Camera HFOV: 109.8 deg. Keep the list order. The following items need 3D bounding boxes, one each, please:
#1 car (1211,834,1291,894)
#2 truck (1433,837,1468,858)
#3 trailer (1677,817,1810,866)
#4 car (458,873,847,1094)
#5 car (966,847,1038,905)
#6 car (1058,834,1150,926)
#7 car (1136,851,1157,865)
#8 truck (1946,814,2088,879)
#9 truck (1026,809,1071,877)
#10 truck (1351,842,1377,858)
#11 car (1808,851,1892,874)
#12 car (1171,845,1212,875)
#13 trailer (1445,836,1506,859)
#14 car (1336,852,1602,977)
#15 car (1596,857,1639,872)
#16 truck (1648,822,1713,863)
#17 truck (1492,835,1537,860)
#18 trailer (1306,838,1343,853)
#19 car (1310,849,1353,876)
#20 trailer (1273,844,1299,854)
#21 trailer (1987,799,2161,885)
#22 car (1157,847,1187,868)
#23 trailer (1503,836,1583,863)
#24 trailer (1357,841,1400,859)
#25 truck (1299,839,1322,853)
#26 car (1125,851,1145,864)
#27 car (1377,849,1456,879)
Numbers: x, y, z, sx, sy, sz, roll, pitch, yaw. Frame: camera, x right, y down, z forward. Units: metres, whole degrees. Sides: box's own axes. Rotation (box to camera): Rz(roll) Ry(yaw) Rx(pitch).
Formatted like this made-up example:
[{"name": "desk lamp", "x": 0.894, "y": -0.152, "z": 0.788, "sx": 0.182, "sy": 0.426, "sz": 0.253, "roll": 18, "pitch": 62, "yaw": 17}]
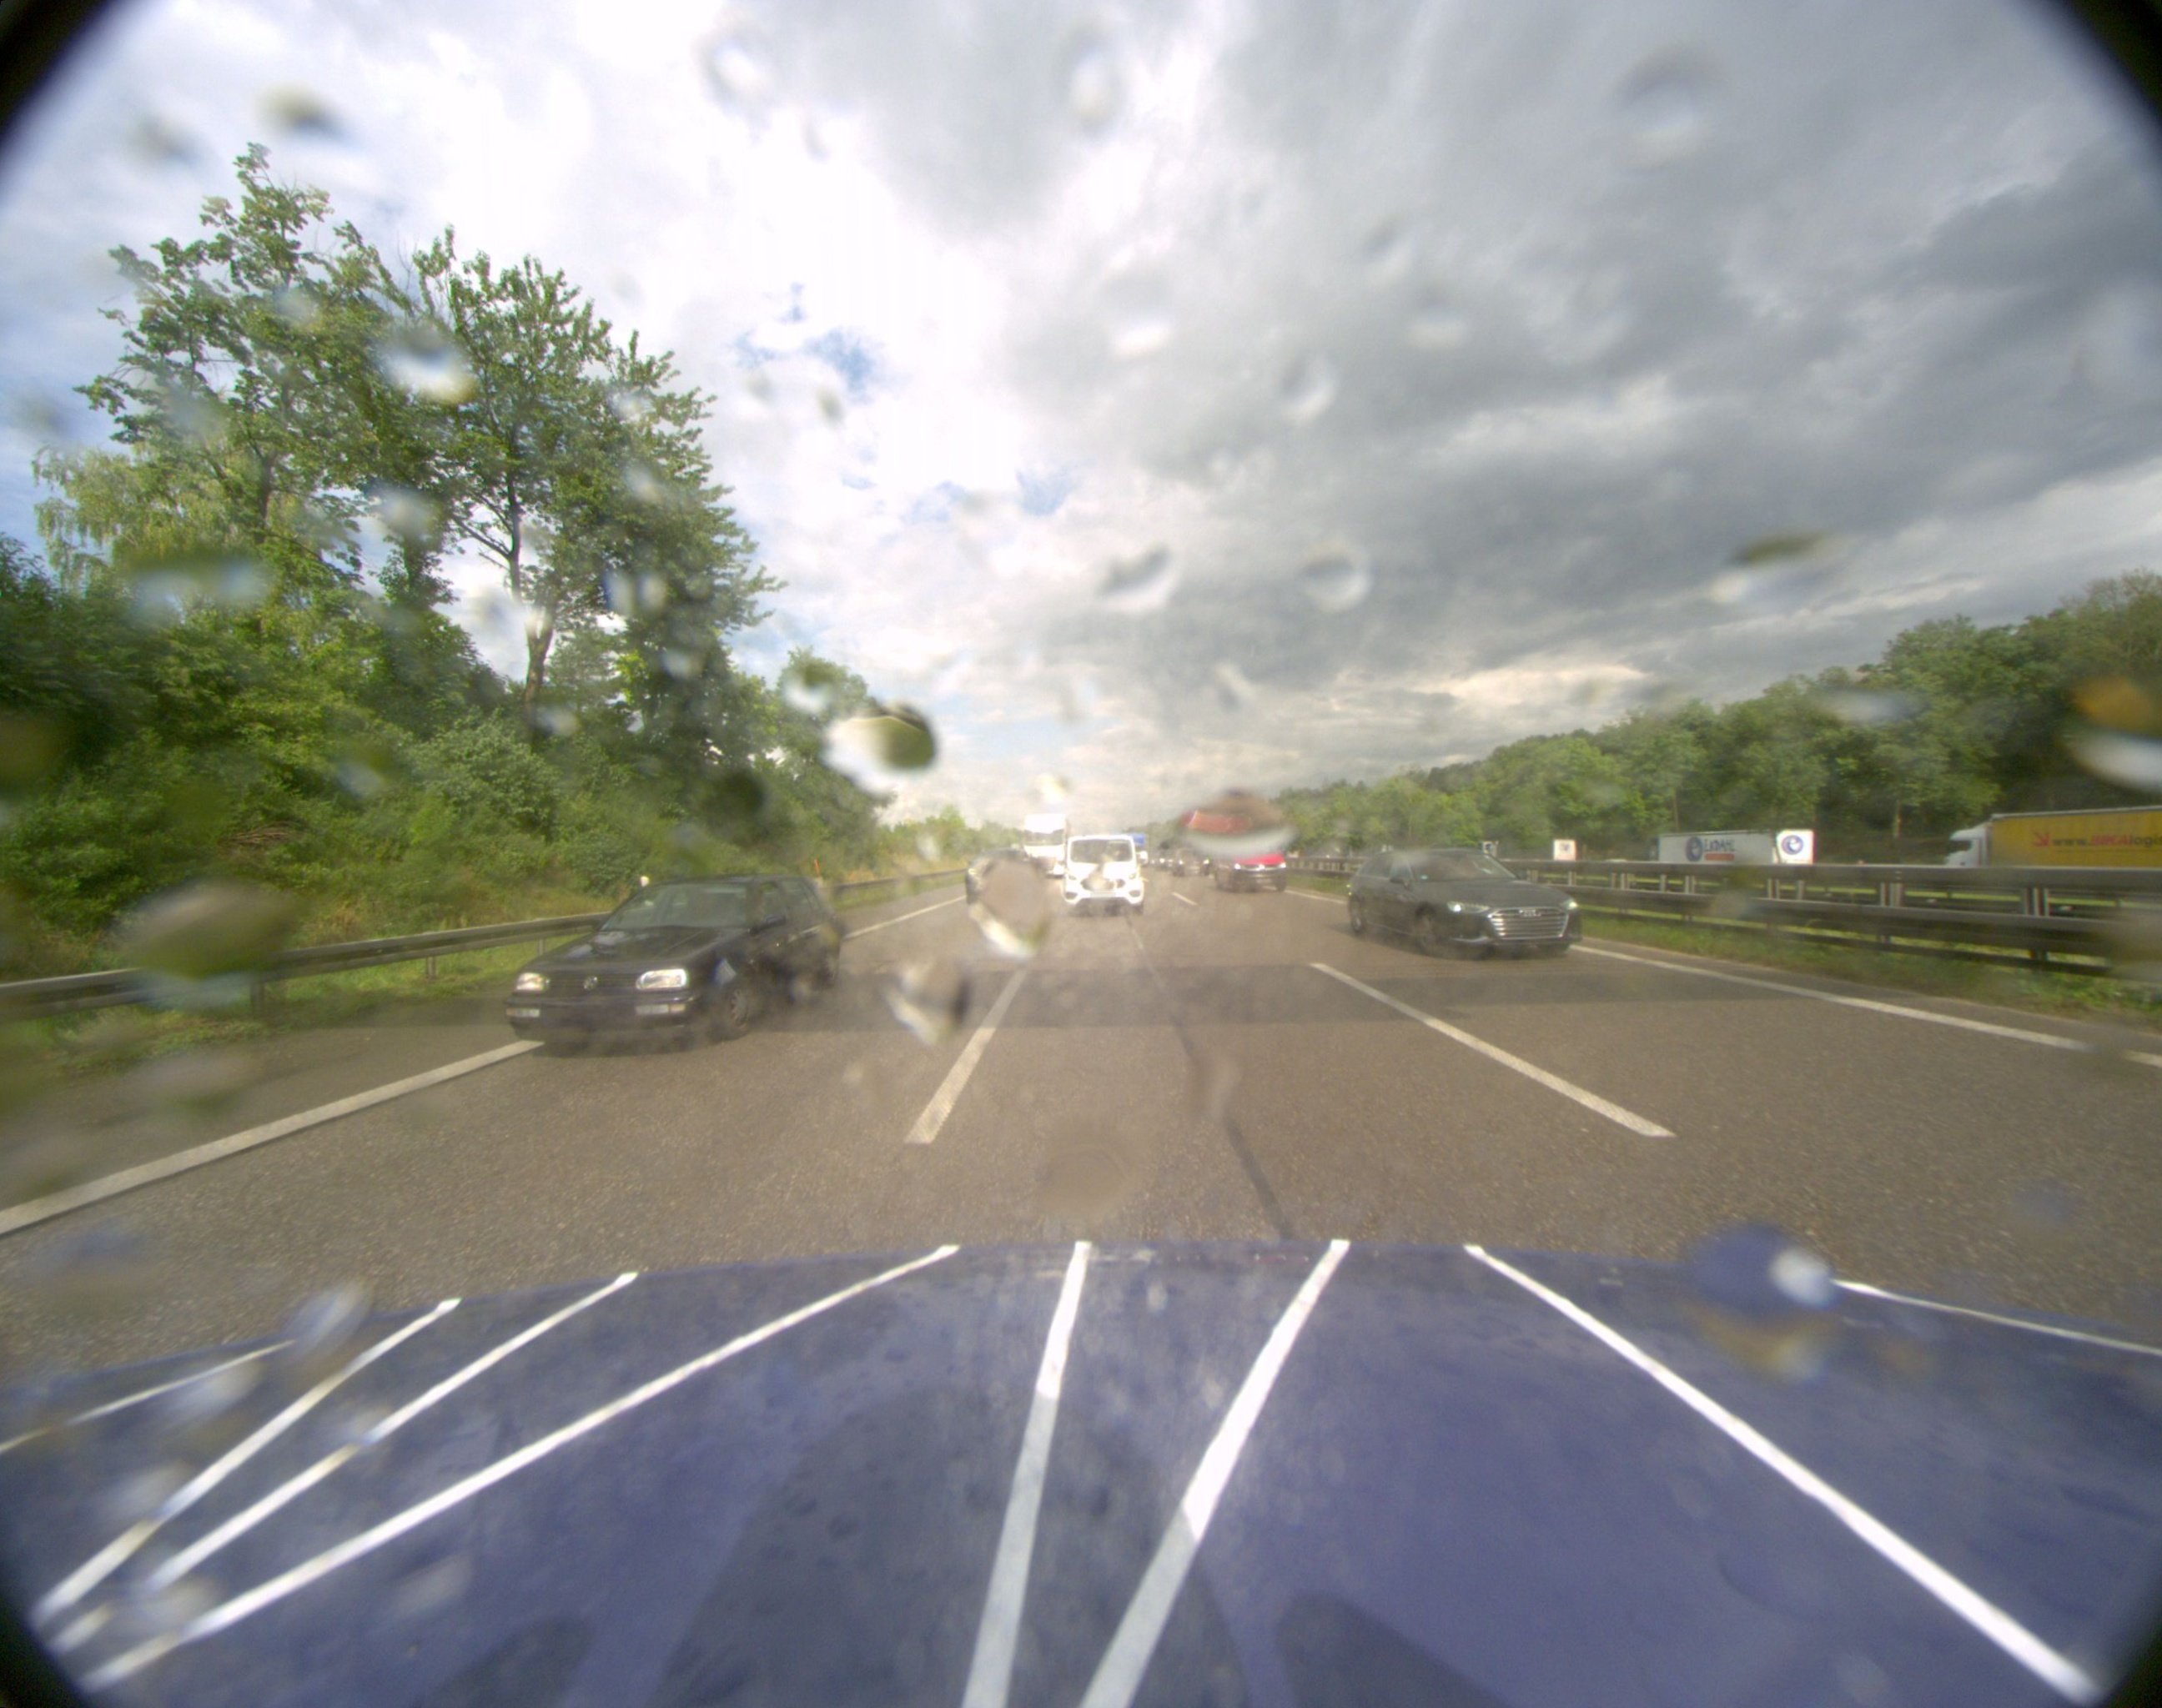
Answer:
[{"name": "car", "x": 6.110, "y": 0.329, "z": 27.899, "sx": 1.895, "sy": 1.973, "sz": 4.750, "roll": -2, "pitch": 0, "yaw": 1}, {"name": "truck", "x": 58.764, "y": -1.075, "z": 121.006, "sx": 2.581, "sy": 3.232, "sz": 6.535, "roll": 0, "pitch": 1, "yaw": 1}, {"name": "trailer", "x": 53.397, "y": -0.943, "z": 61.840, "sx": 2.186, "sy": 3.579, "sz": 11.726, "roll": 0, "pitch": 1, "yaw": 9}, {"name": "car", "x": -3.718, "y": 1.000, "z": 7.452, "sx": 1.655, "sy": 1.448, "sz": 3.744, "roll": -2, "pitch": 1, "yaw": 0}, {"name": "car", "x": -2.632, "y": 0.677, "z": 26.480, "sx": 1.831, "sy": 1.793, "sz": 5.305, "roll": -1, "pitch": 0, "yaw": 1}, {"name": "car", "x": 0.553, "y": 0.555, "z": 19.416, "sx": 1.985, "sy": 1.973, "sz": 5.168, "roll": -2, "pitch": 0, "yaw": 1}, {"name": "car", "x": 6.389, "y": 0.368, "z": 74.616, "sx": 1.675, "sy": 1.228, "sz": 4.000, "roll": -2, "pitch": 0, "yaw": 1}, {"name": "truck", "x": 48.758, "y": -0.418, "z": 39.792, "sx": 1.978, "sy": 3.080, "sz": 5.080, "roll": -2, "pitch": 1, "yaw": 13}, {"name": "truck", "x": -2.013, "y": -0.685, "z": 49.349, "sx": 2.460, "sy": 4.080, "sz": 5.332, "roll": -2, "pitch": 0, "yaw": 1}, {"name": "truck", "x": 57.777, "y": -0.882, "z": 155.487, "sx": 3.182, "sy": 3.237, "sz": 5.390, "roll": 1, "pitch": 1, "yaw": -1}, {"name": "car", "x": 51.209, "y": 0.531, "z": 50.721, "sx": 1.898, "sy": 1.494, "sz": 4.002, "roll": 0, "pitch": 1, "yaw": 9}, {"name": "car", "x": 6.601, "y": 0.337, "z": 45.874, "sx": 1.895, "sy": 1.660, "sz": 4.294, "roll": -1, "pitch": 1, "yaw": 1}, {"name": "trailer", "x": 58.669, "y": -1.007, "z": 113.525, "sx": 2.611, "sy": 3.253, "sz": 12.647, "roll": 0, "pitch": 1, "yaw": 1}, {"name": "car", "x": 5.397, "y": 0.721, "z": 11.321, "sx": 1.723, "sy": 1.403, "sz": 4.467, "roll": -2, "pitch": 1, "yaw": 1}, {"name": "car", "x": 56.212, "y": 1.058, "z": 79.647, "sx": 1.898, "sy": 1.494, "sz": 4.001, "roll": 0, "pitch": 1, "yaw": 5}, {"name": "truck", "x": 54.469, "y": -0.994, "z": 69.197, "sx": 2.167, "sy": 3.599, "sz": 5.581, "roll": 0, "pitch": 1, "yaw": 9}, {"name": "truck", "x": 58.032, "y": -0.862, "z": 101.935, "sx": 3.049, "sy": 3.165, "sz": 5.597, "roll": 0, "pitch": 1, "yaw": 3}, {"name": "trailer", "x": 55.440, "y": -1.947, "z": 173.379, "sx": 3.085, "sy": 3.253, "sz": 13.401, "roll": 0, "pitch": 1, "yaw": -6}, {"name": "car", "x": 19.453, "y": 0.623, "z": 59.148, "sx": 1.998, "sy": 1.953, "sz": 4.395, "roll": -2, "pitch": 0, "yaw": 2}, {"name": "trailer", "x": 52.159, "y": -1.313, "z": 193.696, "sx": 2.537, "sy": 2.559, "sz": 9.869, "roll": -2, "pitch": 1, "yaw": -10}, {"name": "trailer", "x": 47.142, "y": -0.564, "z": 33.163, "sx": 1.996, "sy": 3.673, "sz": 13.670, "roll": -2, "pitch": 1, "yaw": 13}, {"name": "car", "x": 7.059, "y": 0.264, "z": 59.521, "sx": 1.895, "sy": 1.558, "sz": 4.053, "roll": -1, "pitch": 1, "yaw": 1}, {"name": "trailer", "x": 57.502, "y": -0.586, "z": 95.093, "sx": 3.026, "sy": 3.174, "sz": 12.175, "roll": 0, "pitch": 0, "yaw": 3}, {"name": "trailer", "x": 57.946, "y": -0.830, "z": 148.427, "sx": 3.192, "sy": 3.253, "sz": 12.644, "roll": 0, "pitch": 1, "yaw": -1}, {"name": "truck", "x": 54.646, "y": -1.842, "z": 181.366, "sx": 3.082, "sy": 3.237, "sz": 6.093, "roll": 0, "pitch": 1, "yaw": -6}, {"name": "car", "x": 5.837, "y": 0.373, "z": 82.662, "sx": 1.888, "sy": 1.228, "sz": 4.506, "roll": -2, "pitch": 0, "yaw": 1}, {"name": "car", "x": 15.233, "y": 0.419, "z": 34.740, "sx": 1.849, "sy": 1.288, "sz": 4.000, "roll": -1, "pitch": 0, "yaw": 1}]
